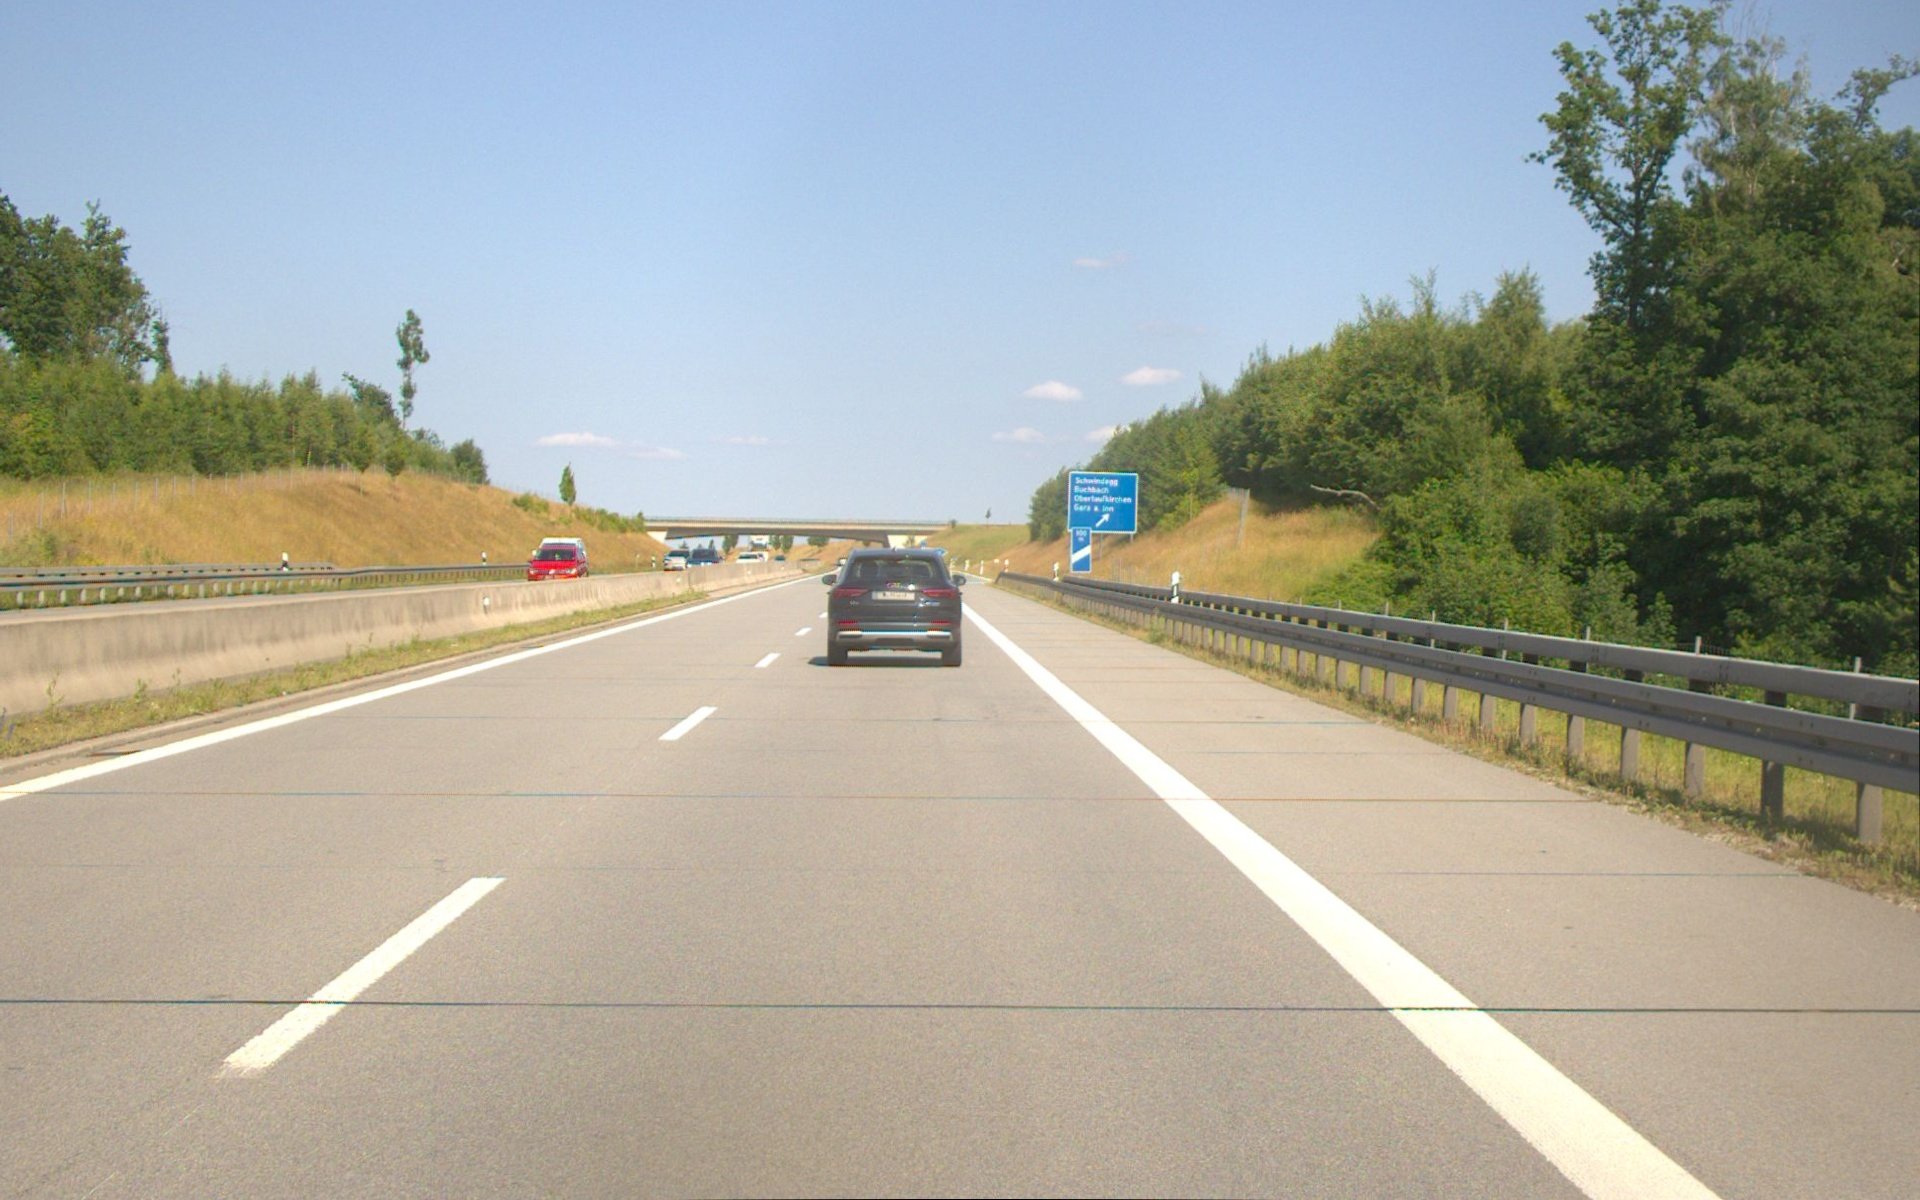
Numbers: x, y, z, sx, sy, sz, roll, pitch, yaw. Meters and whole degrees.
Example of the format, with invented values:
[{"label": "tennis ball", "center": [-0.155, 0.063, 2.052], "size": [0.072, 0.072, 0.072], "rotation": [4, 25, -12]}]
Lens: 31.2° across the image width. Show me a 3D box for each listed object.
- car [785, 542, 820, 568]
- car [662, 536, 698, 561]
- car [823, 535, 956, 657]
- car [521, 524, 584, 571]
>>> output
[{"label": "car", "center": [-9.725, -2.781, 212.435], "size": [1.993, 1.576, 4.649], "rotation": [1, 1, 0]}, {"label": "car", "center": [-18.438, -3.413, 226.587], "size": [1.993, 1.576, 4.649], "rotation": [1, 1, 0]}, {"label": "car", "center": [-0.944, -0.101, 47.733], "size": [1.722, 1.582, 5.222], "rotation": [1, 1, 0]}, {"label": "car", "center": [-14.529, -1.882, 122.819], "size": [1.667, 1.638, 4.889], "rotation": [1, 1, 0]}]
